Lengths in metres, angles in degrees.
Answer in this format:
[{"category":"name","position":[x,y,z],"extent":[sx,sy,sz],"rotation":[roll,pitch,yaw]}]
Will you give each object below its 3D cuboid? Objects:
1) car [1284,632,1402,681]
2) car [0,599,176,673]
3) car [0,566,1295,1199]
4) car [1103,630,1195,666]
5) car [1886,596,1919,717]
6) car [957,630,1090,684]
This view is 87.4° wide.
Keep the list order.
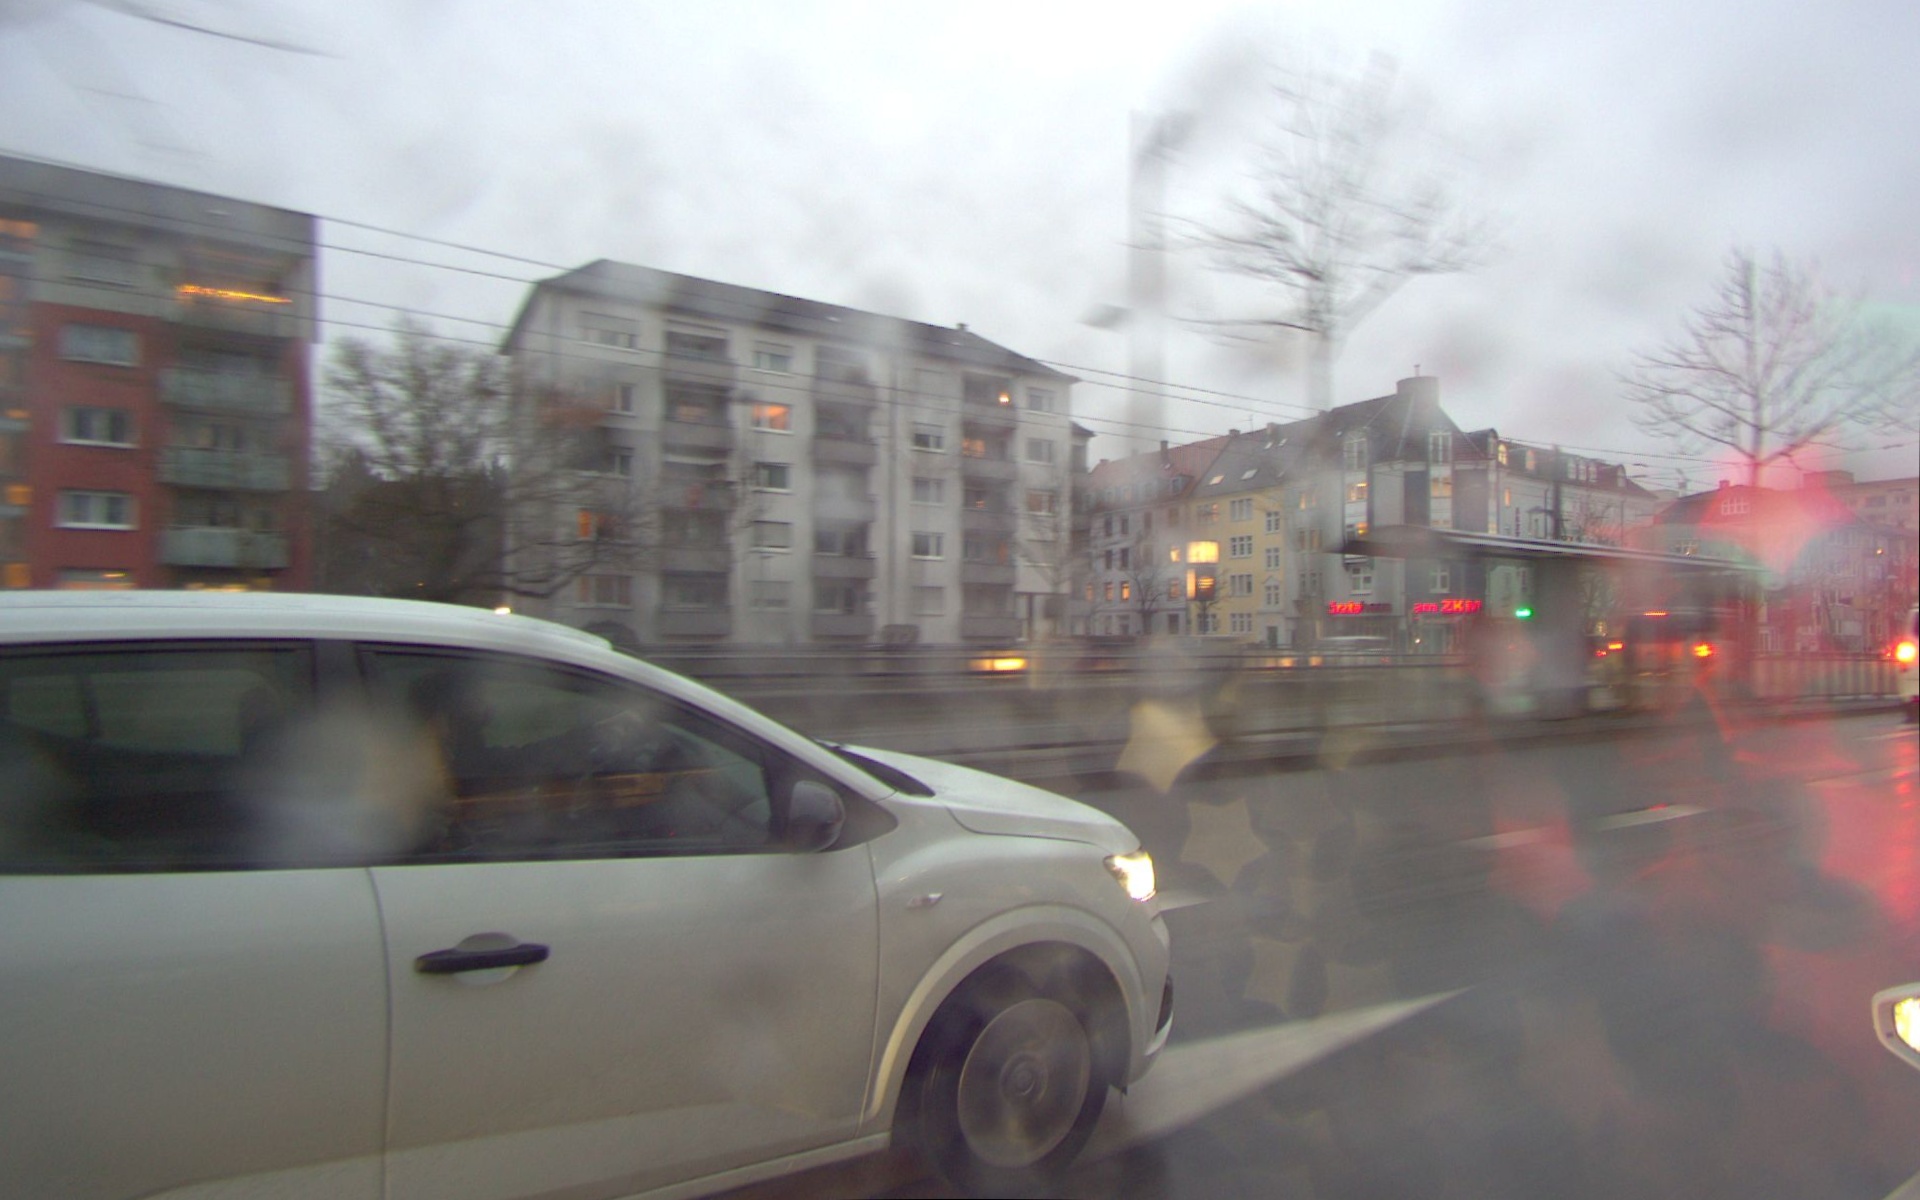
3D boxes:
[{"category":"car","position":[13.037,1.918,34.155],"extent":[3.713,1.517,1.752],"rotation":[3,-1,-29]},{"category":"car","position":[-21.820,0.862,24.394],"extent":[4.102,1.667,1.717],"rotation":[3,-1,-30]},{"category":"car","position":[-1.178,0.728,2.686],"extent":[3.952,1.485,1.701],"rotation":[3,-1,-29]},{"category":"car","position":[8.173,2.056,43.659],"extent":[1.682,1.384,3.772],"rotation":[3,-1,-36]},{"category":"car","position":[18.714,1.021,17.984],"extent":[4.828,2.060,1.942],"rotation":[2,-1,-32]},{"category":"car","position":[1.974,1.748,30.872],"extent":[3.716,1.517,1.750],"rotation":[3,-1,-31]}]
